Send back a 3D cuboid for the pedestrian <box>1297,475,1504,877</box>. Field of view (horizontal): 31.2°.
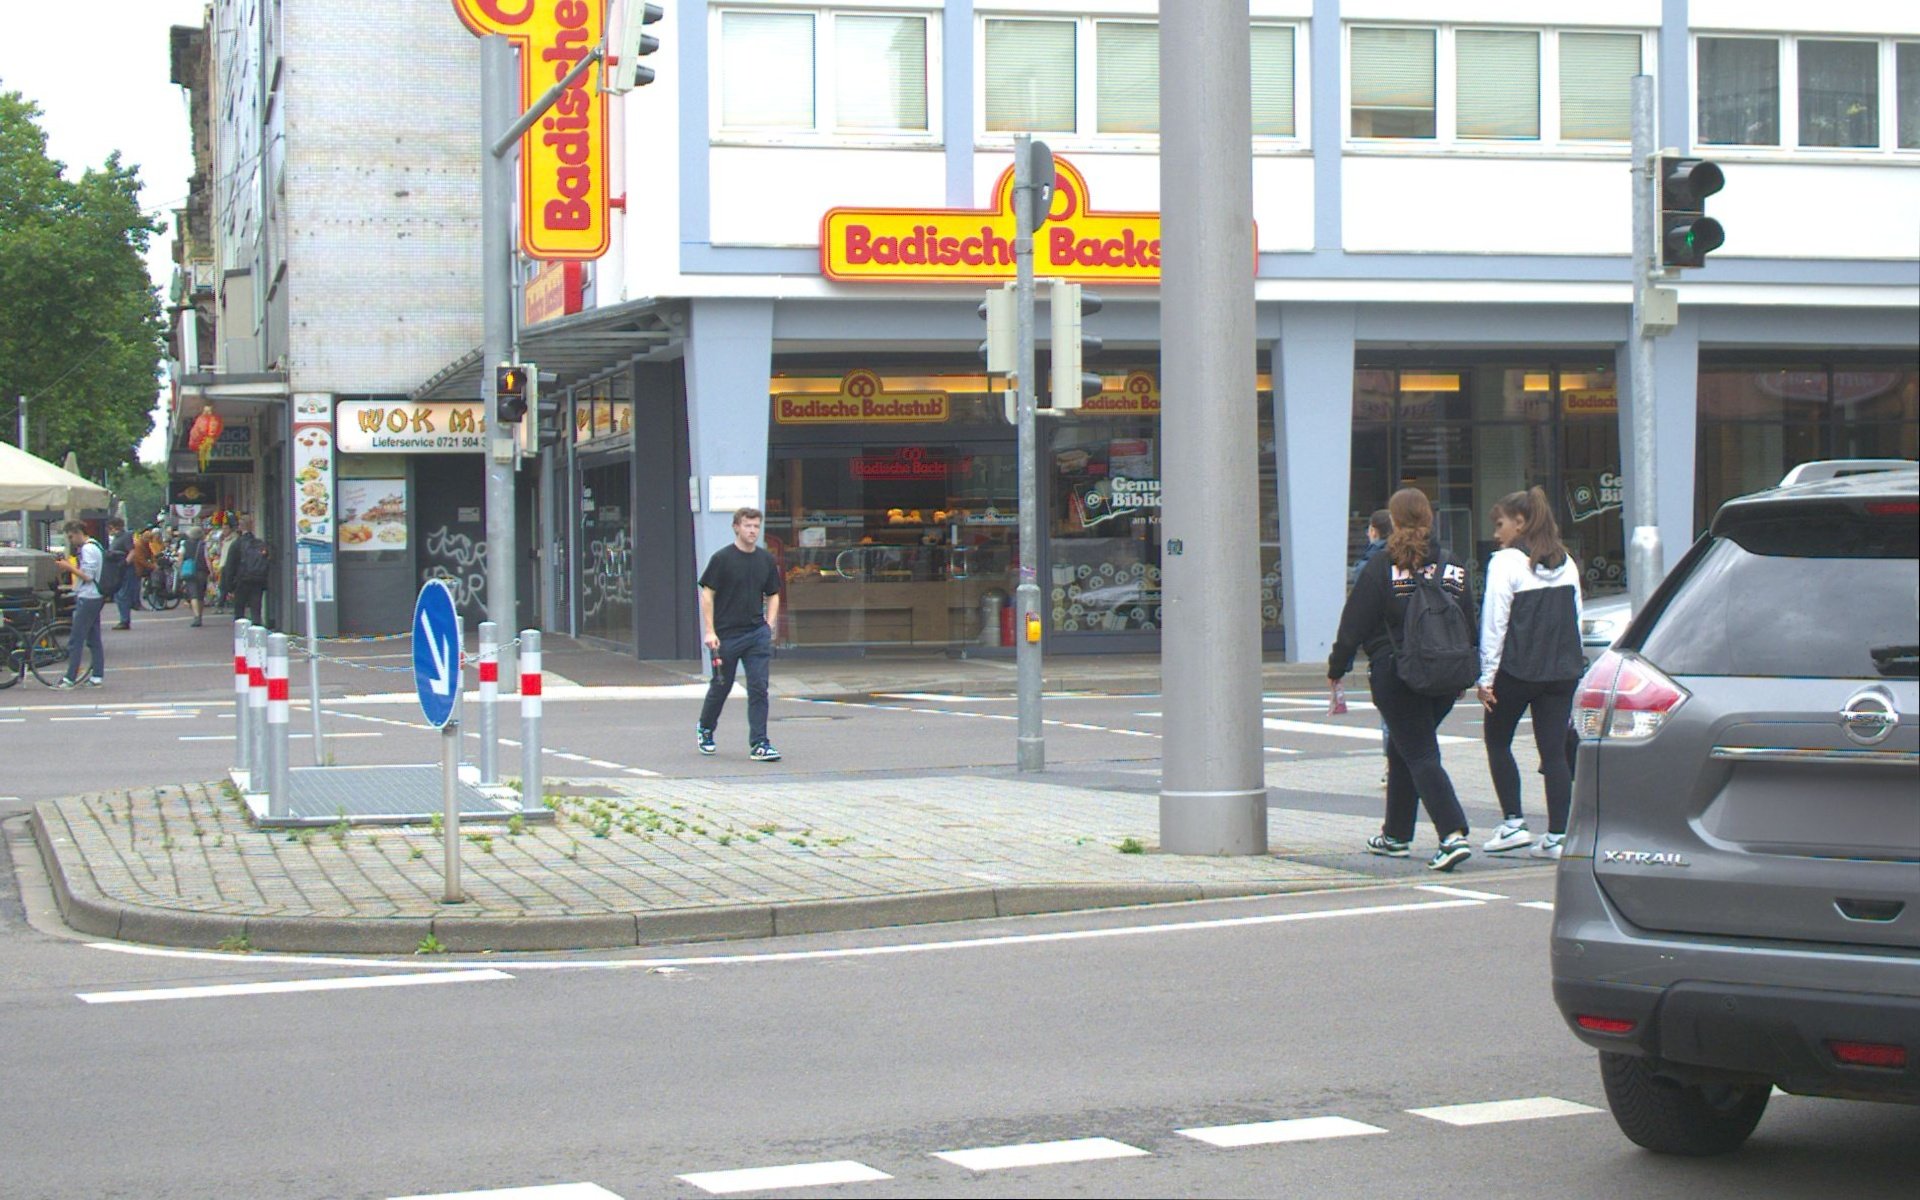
[{"bbox_3d":[1.977,0.325,15.489,0.621,1.755,0.780,0,1,-20],"label":"pedestrian"}]

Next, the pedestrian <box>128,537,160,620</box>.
[{"bbox_3d":[-16.890,-0.450,71.149,0.611,1.699,0.620,0,1,-12],"label":"pedestrian"}]

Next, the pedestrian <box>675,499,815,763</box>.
[{"bbox_3d":[-1.529,0.207,24.358,0.712,1.826,1.017,0,1,-20],"label":"pedestrian"}]

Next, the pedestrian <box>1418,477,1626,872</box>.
[{"bbox_3d":[2.565,0.324,15.734,0.621,1.755,0.780,0,1,-20],"label":"pedestrian"}]

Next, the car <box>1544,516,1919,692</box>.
[{"bbox_3d":[7.806,-0.009,31.370,4.550,1.476,1.749,-2,1,-15],"label":"car"}]

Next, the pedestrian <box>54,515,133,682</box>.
[{"bbox_3d":[-9.111,-0.021,36.135,0.732,1.740,0.663,0,1,-21],"label":"pedestrian"}]

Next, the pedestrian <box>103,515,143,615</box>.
[{"bbox_3d":[-14.236,-0.595,58.462,0.643,1.699,0.559,0,1,-12],"label":"pedestrian"}]

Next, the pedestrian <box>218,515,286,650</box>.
[{"bbox_3d":[-8.991,-0.223,43.693,0.710,1.699,0.734,0,1,-1],"label":"pedestrian"}]

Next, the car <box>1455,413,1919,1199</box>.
[{"bbox_3d":[3.152,0.471,8.894,1.867,1.768,4.558,2,2,34],"label":"car"}]

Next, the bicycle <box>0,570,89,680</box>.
[{"bbox_3d":[-10.249,0.268,36.935,1.695,1.168,0.437,0,1,-20],"label":"bicycle"}]

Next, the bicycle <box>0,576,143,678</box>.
[{"bbox_3d":[-9.555,0.281,36.436,1.695,1.062,0.437,0,1,-6],"label":"bicycle"}]

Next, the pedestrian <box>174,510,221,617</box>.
[{"bbox_3d":[-13.063,-0.630,58.891,0.737,1.815,0.662,-1,1,-15],"label":"pedestrian"}]

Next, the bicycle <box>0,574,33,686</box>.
[{"bbox_3d":[-10.755,0.316,36.151,1.867,1.168,0.531,0,1,-27],"label":"bicycle"}]
